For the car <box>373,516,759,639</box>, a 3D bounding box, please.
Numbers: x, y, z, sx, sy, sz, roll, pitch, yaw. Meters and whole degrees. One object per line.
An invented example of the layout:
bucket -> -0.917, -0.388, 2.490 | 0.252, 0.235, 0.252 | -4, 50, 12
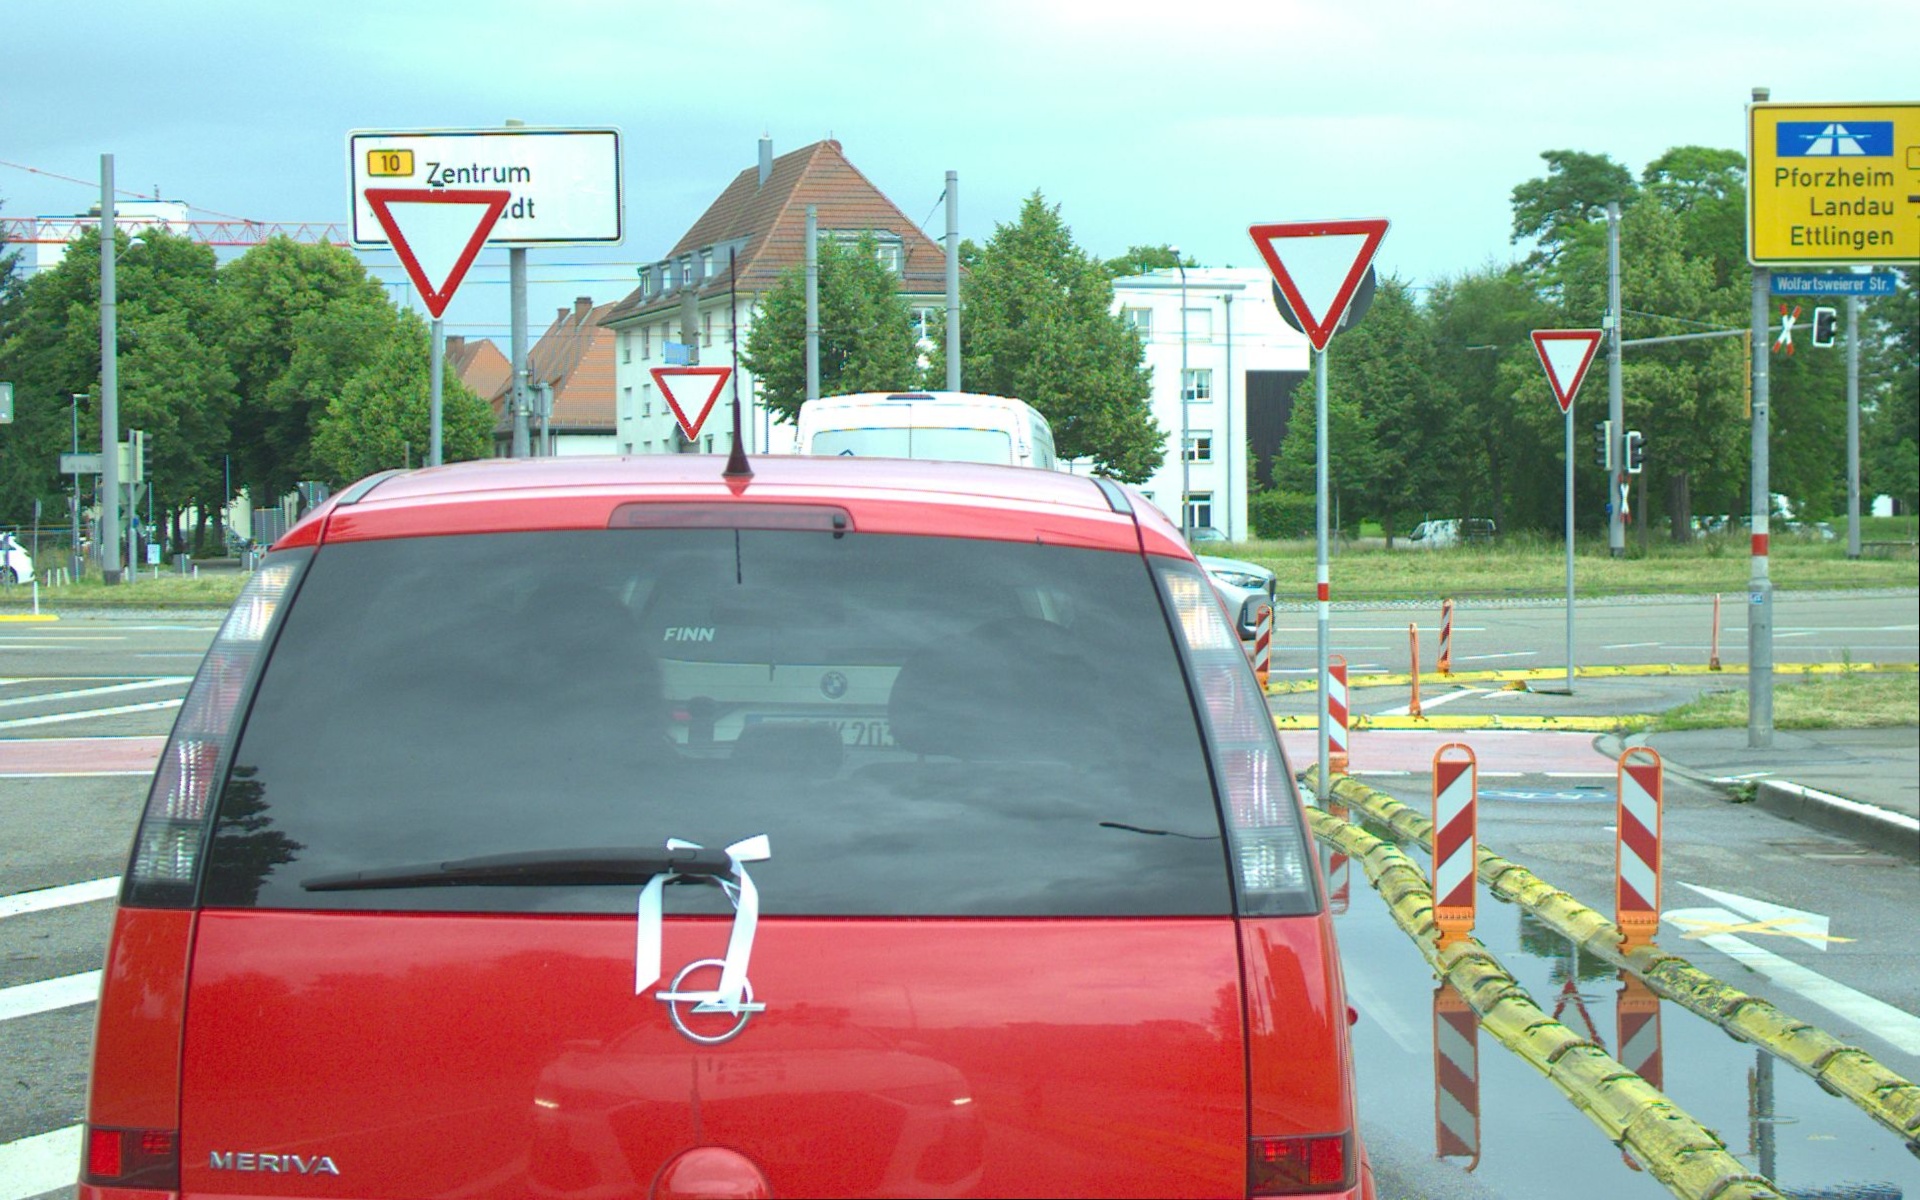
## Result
car -> -4.880, -0.286, 42.763 | 4.311, 1.459, 1.998 | 0, 1, 17

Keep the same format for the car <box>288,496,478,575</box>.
car -> -15.143, -1.706, 90.321 | 4.465, 2.007, 2.000 | -2, 2, -32

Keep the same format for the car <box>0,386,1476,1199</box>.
car -> -0.319, 0.554, 5.484 | 1.673, 1.635, 3.627 | 1, 1, -1

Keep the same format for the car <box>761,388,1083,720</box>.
car -> -0.212, -0.416, 28.970 | 2.195, 2.531, 4.961 | 1, 1, 5

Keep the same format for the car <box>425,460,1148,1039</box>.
car -> -0.528, 0.375, 12.182 | 2.059, 1.642, 4.607 | 1, 1, -1

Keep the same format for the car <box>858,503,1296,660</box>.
car -> 1.252, -0.215, 36.606 | 4.517, 1.577, 2.000 | -1, 1, 2

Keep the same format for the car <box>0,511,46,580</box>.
car -> -24.007, -1.255, 80.637 | 1.998, 1.629, 4.665 | 0, 2, 38
